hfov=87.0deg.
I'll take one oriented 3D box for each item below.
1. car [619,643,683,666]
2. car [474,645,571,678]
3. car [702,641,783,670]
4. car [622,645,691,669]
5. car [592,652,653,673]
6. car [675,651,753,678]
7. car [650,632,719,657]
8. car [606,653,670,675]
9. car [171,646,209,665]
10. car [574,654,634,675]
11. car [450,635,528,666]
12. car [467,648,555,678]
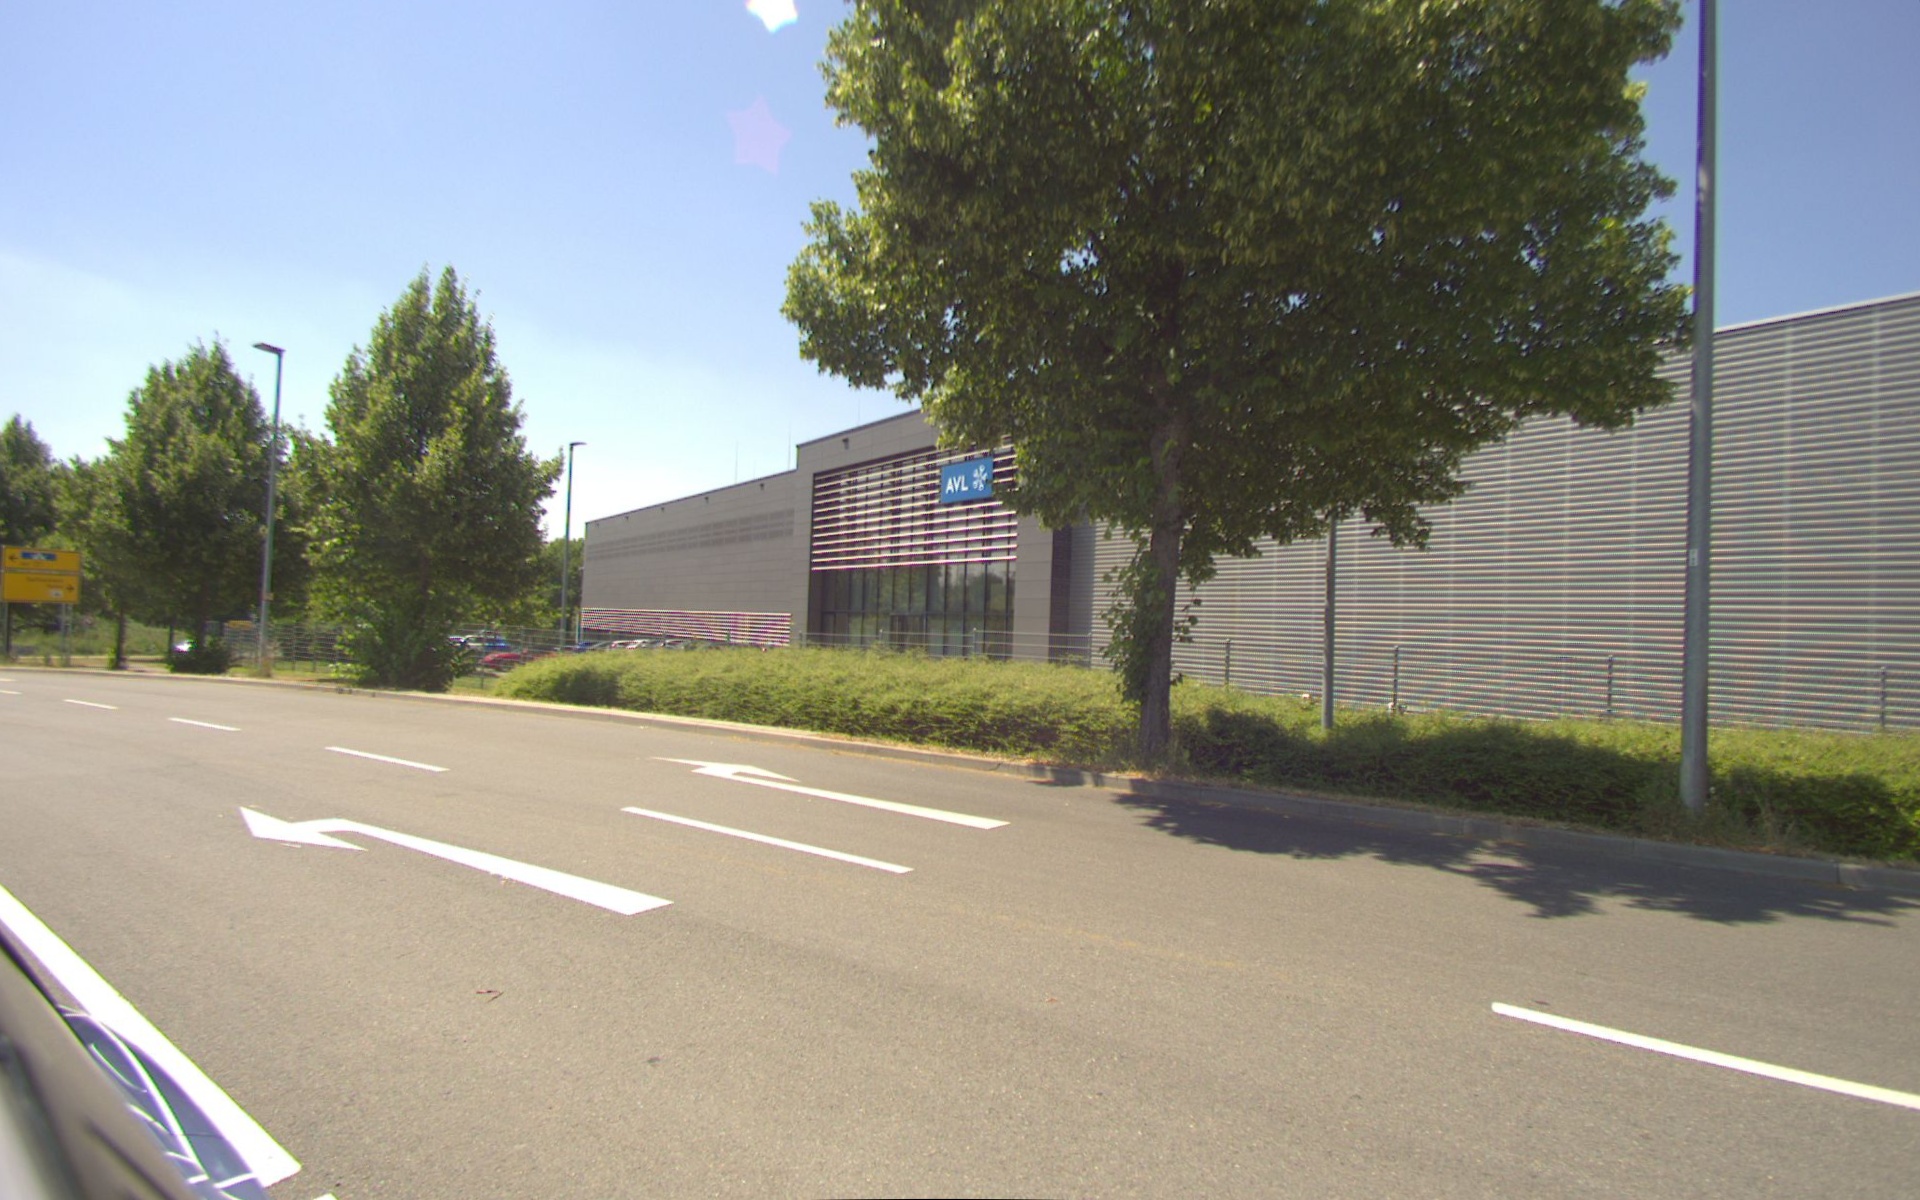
[{"bbox_3d":[-21.692,3.877,71.132,3.936,1.471,1.775,5,-6,-38],"label":"car"},{"bbox_3d":[-21.389,3.042,49.574,3.936,1.497,2.004,5,-6,-38],"label":"car"},{"bbox_3d":[-12.315,3.162,57.390,3.936,1.497,2.004,5,-6,-38],"label":"car"},{"bbox_3d":[-20.486,3.870,68.416,3.936,1.497,2.004,5,-6,-38],"label":"car"},{"bbox_3d":[-25.535,4.737,76.641,3.936,1.497,2.004,5,-6,-38],"label":"car"},{"bbox_3d":[-14.455,3.808,59.565,3.936,1.497,2.004,5,-6,-38],"label":"car"},{"bbox_3d":[-17.928,2.895,65.899,3.936,1.528,1.923,0,-3,-39],"label":"car"},{"bbox_3d":[-23.191,4.627,72.996,3.936,1.497,2.004,5,-6,-38],"label":"car"},{"bbox_3d":[-75.300,5.444,99.008,1.965,1.796,4.012,3,-5,-23],"label":"car"},{"bbox_3d":[-27.570,5.024,78.394,3.936,1.497,2.004,5,-6,-38],"label":"car"},{"bbox_3d":[-28.720,3.089,61.758,3.936,1.719,2.004,5,-6,-38],"label":"car"},{"bbox_3d":[-24.095,3.411,54.352,3.936,1.497,2.004,5,-6,-38],"label":"car"}]
